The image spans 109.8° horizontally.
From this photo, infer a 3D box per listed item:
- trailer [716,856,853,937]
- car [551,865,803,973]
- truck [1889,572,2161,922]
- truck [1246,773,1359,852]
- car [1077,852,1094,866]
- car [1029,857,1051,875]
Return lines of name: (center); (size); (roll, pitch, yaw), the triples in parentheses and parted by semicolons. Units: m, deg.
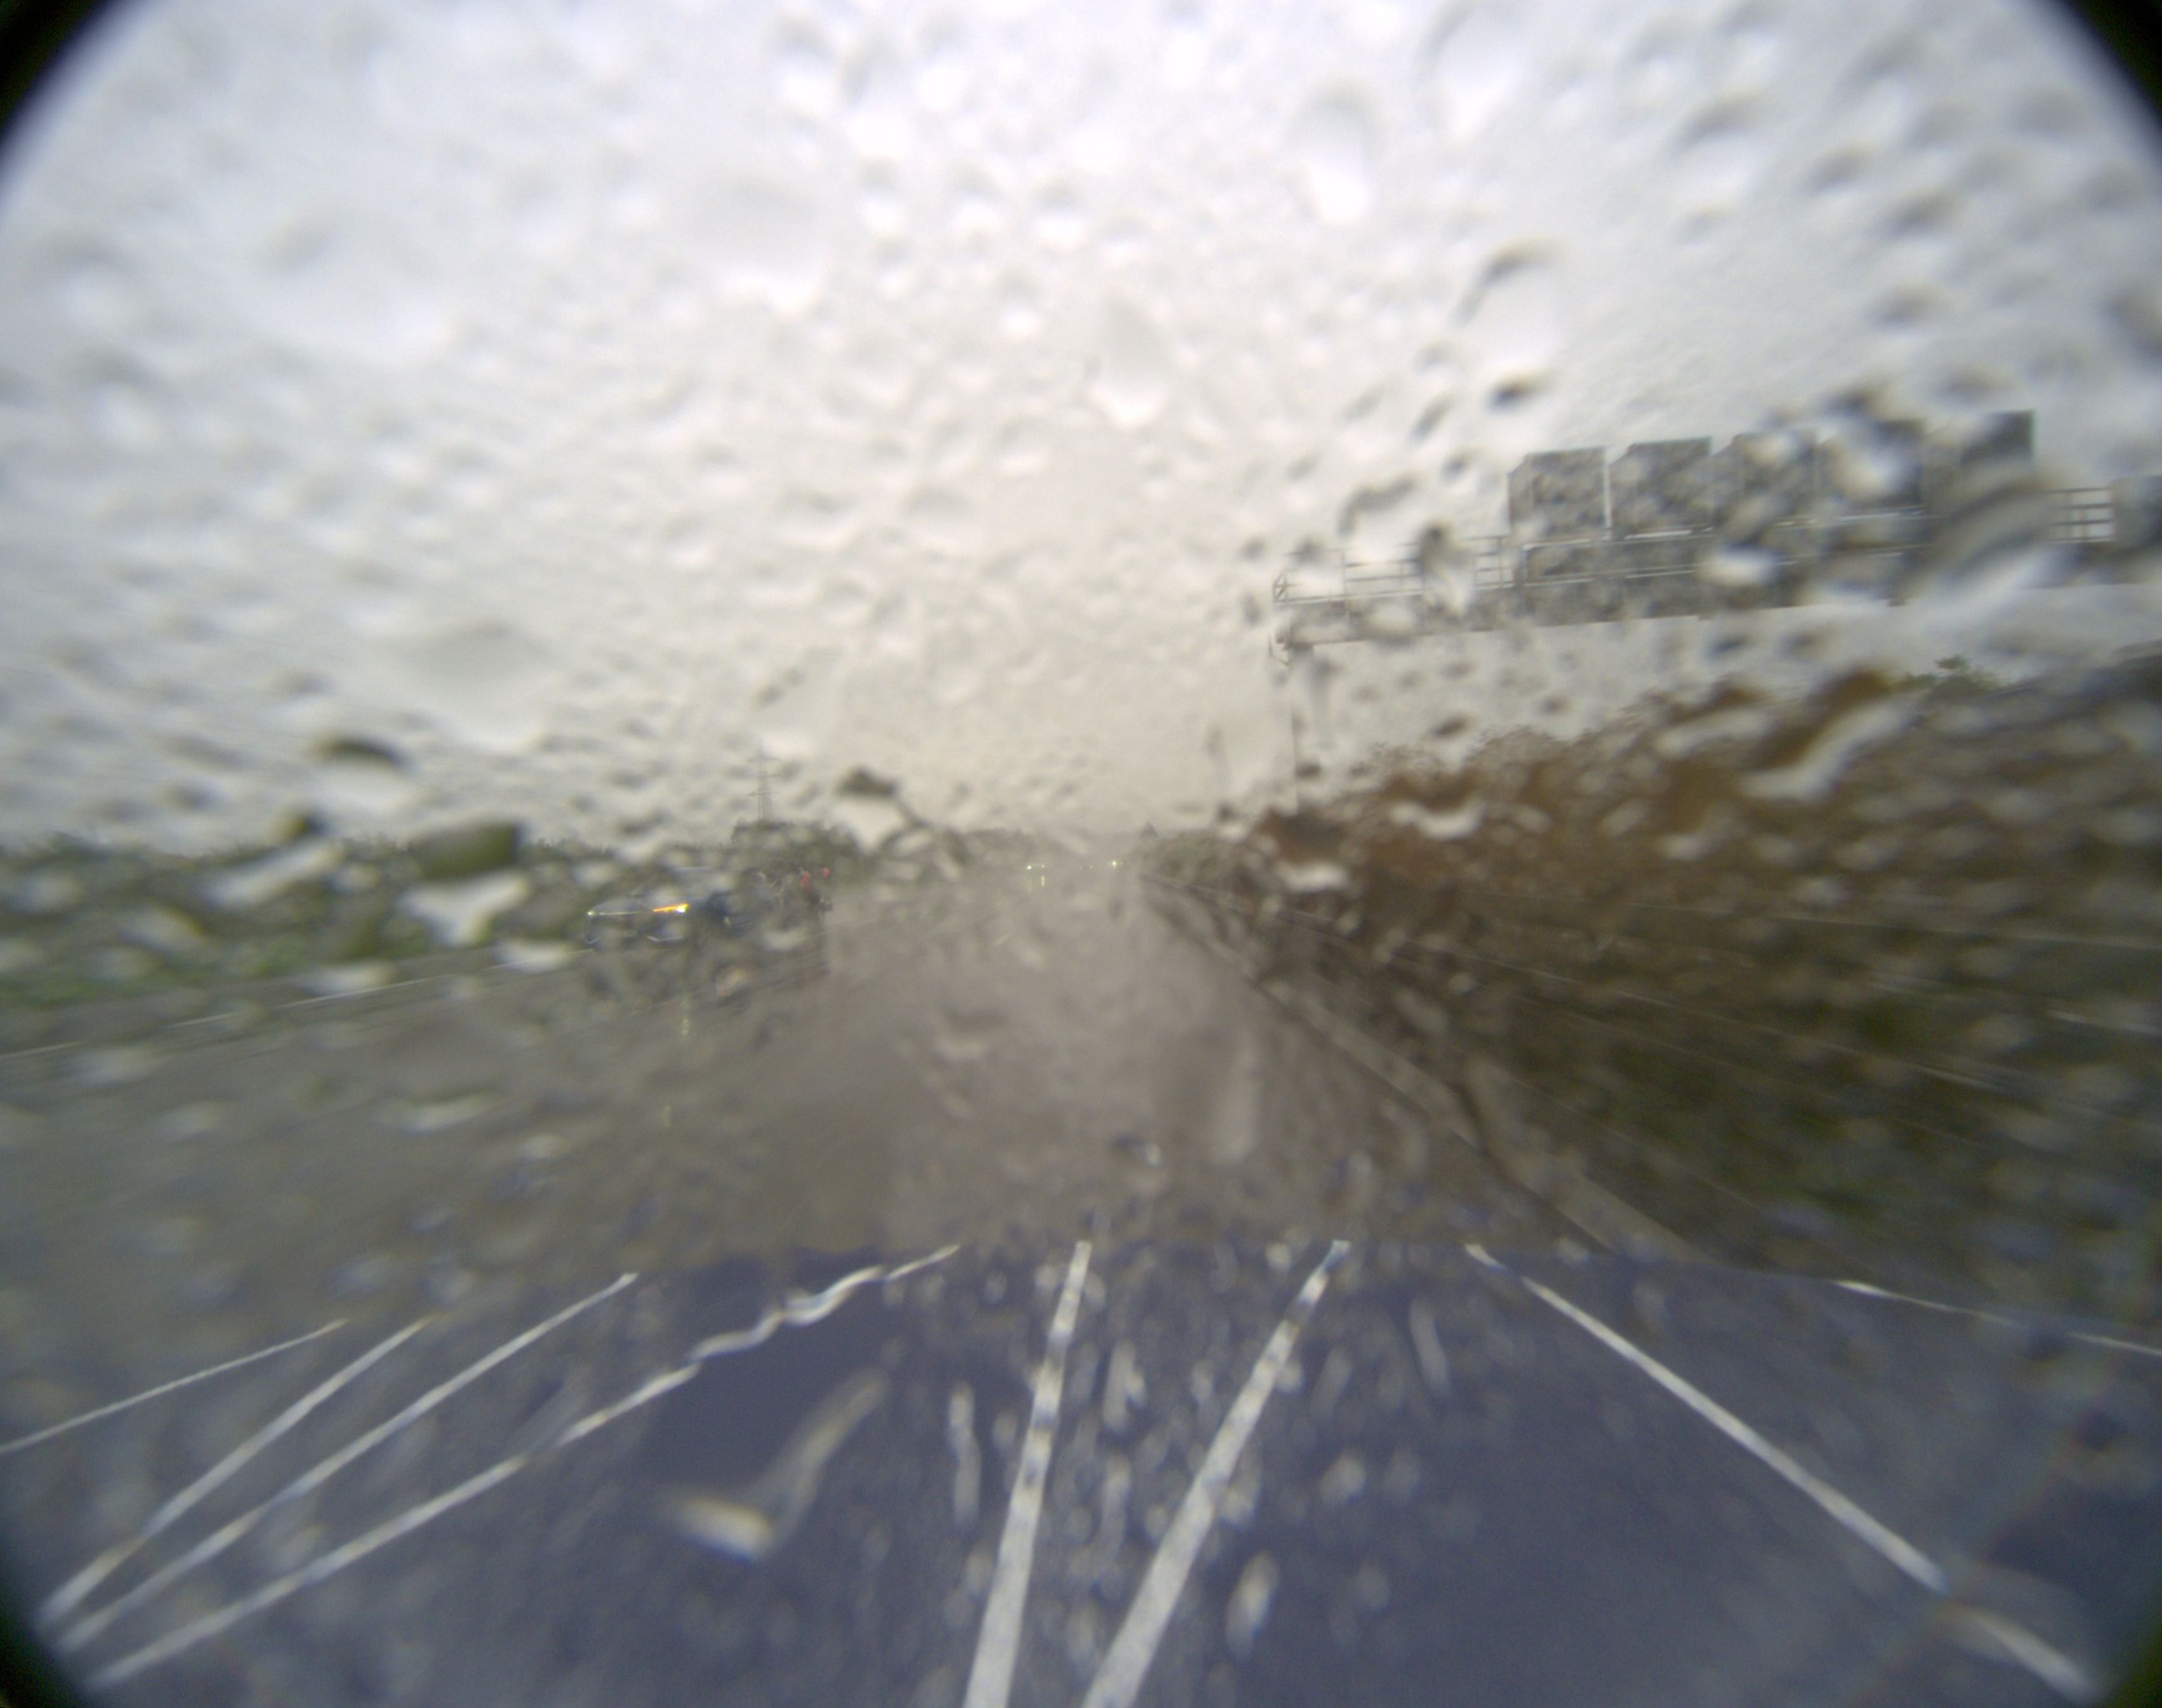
trailer: (-7.301, 0.980, 19.082); (1.983, 1.774, 3.189); (-2, 0, 3)
car: (-7.535, 1.107, 14.938); (1.998, 1.609, 4.993); (-2, 0, 3)
truck: (17.819, -1.659, 5.435); (4.717, 5.014, 18.230); (-2, -1, 1)
truck: (17.032, -2.826, 60.815); (4.715, 5.014, 18.234); (-2, -1, 4)
car: (0.706, 0.703, 114.038); (1.998, 2.001, 4.002); (-2, 0, 6)
car: (-4.881, 1.378, 90.559); (1.998, 2.001, 4.002); (-3, -1, 4)
